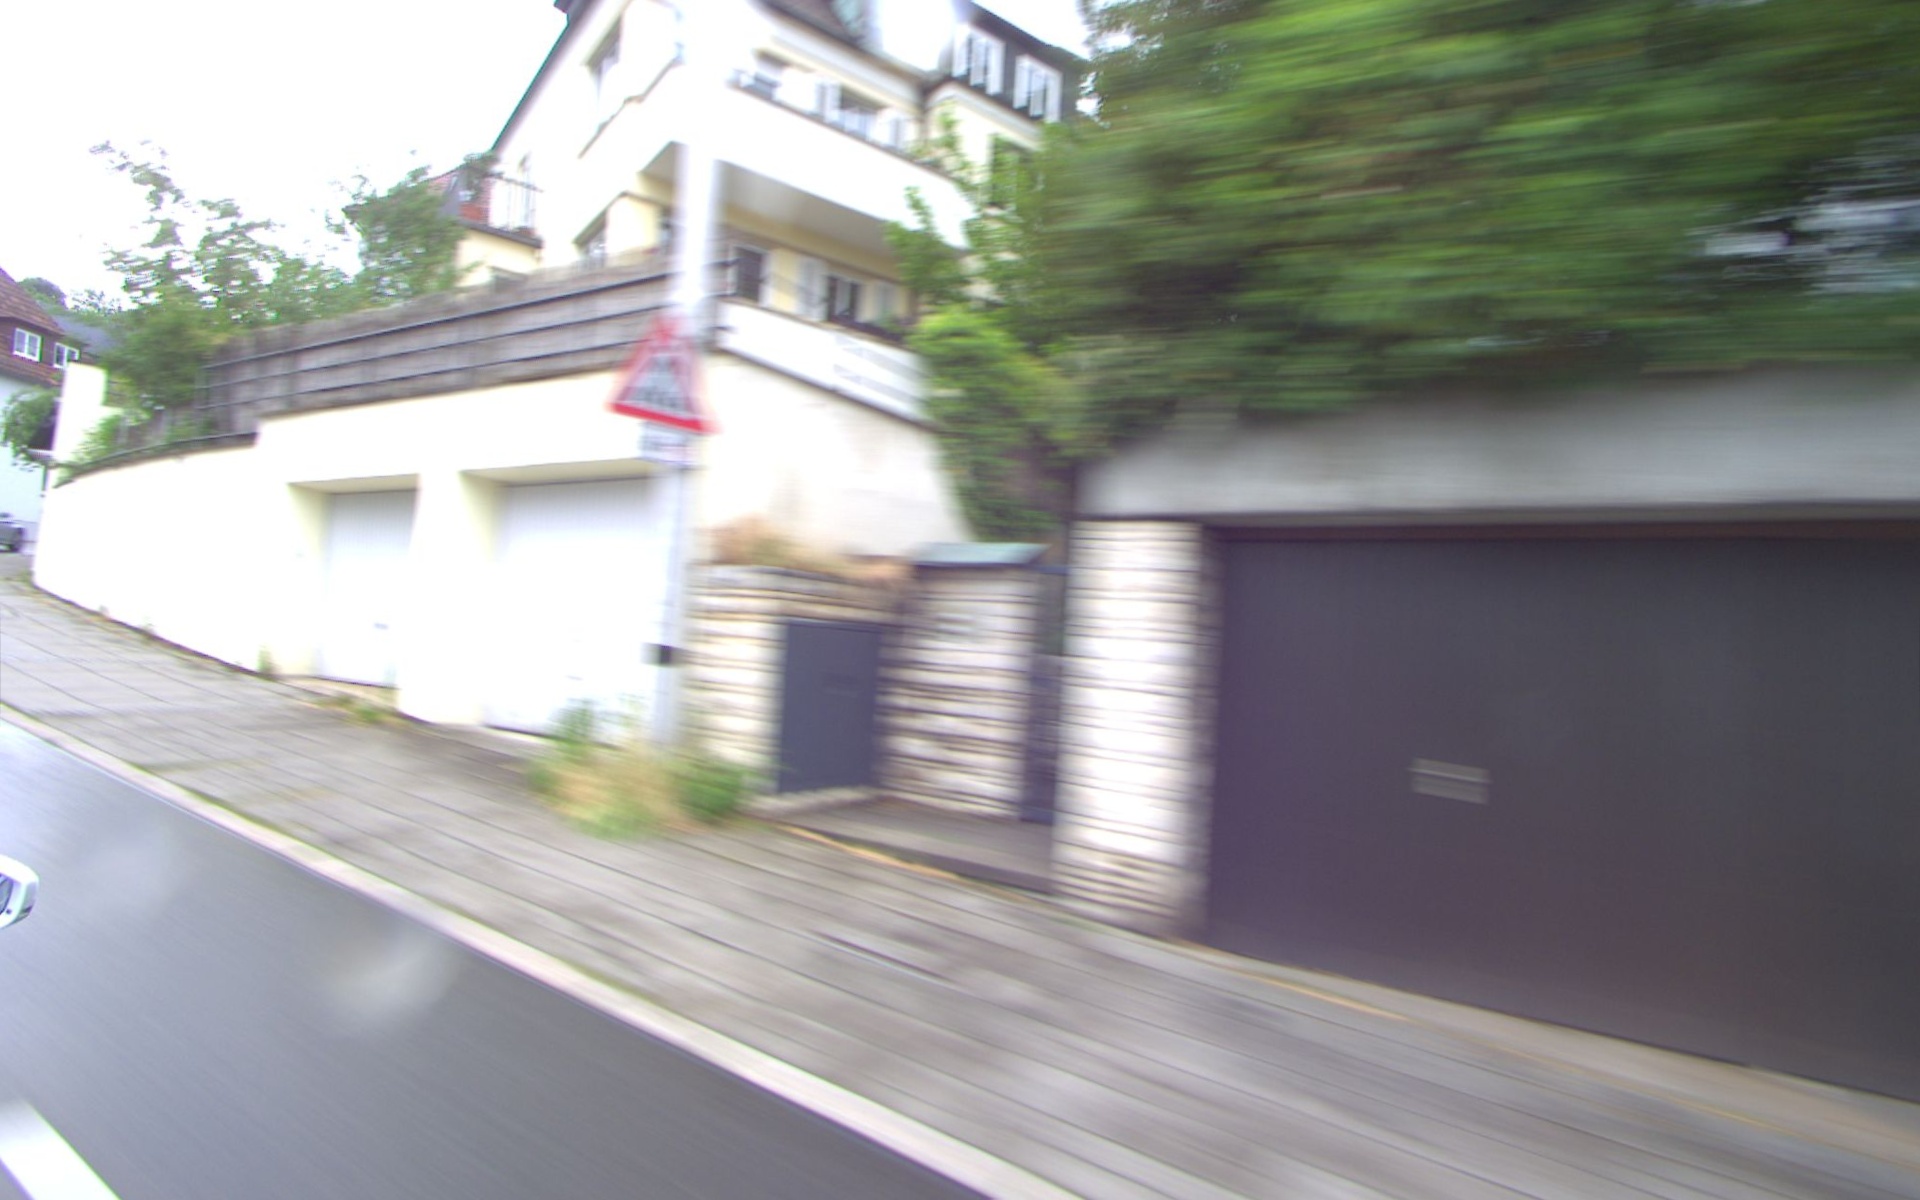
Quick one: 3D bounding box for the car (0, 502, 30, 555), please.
[{"bbox_3d":[-27.330,-2.126,27.251,1.794,1.376,3.981,7,-3,-24],"label":"car"}]
